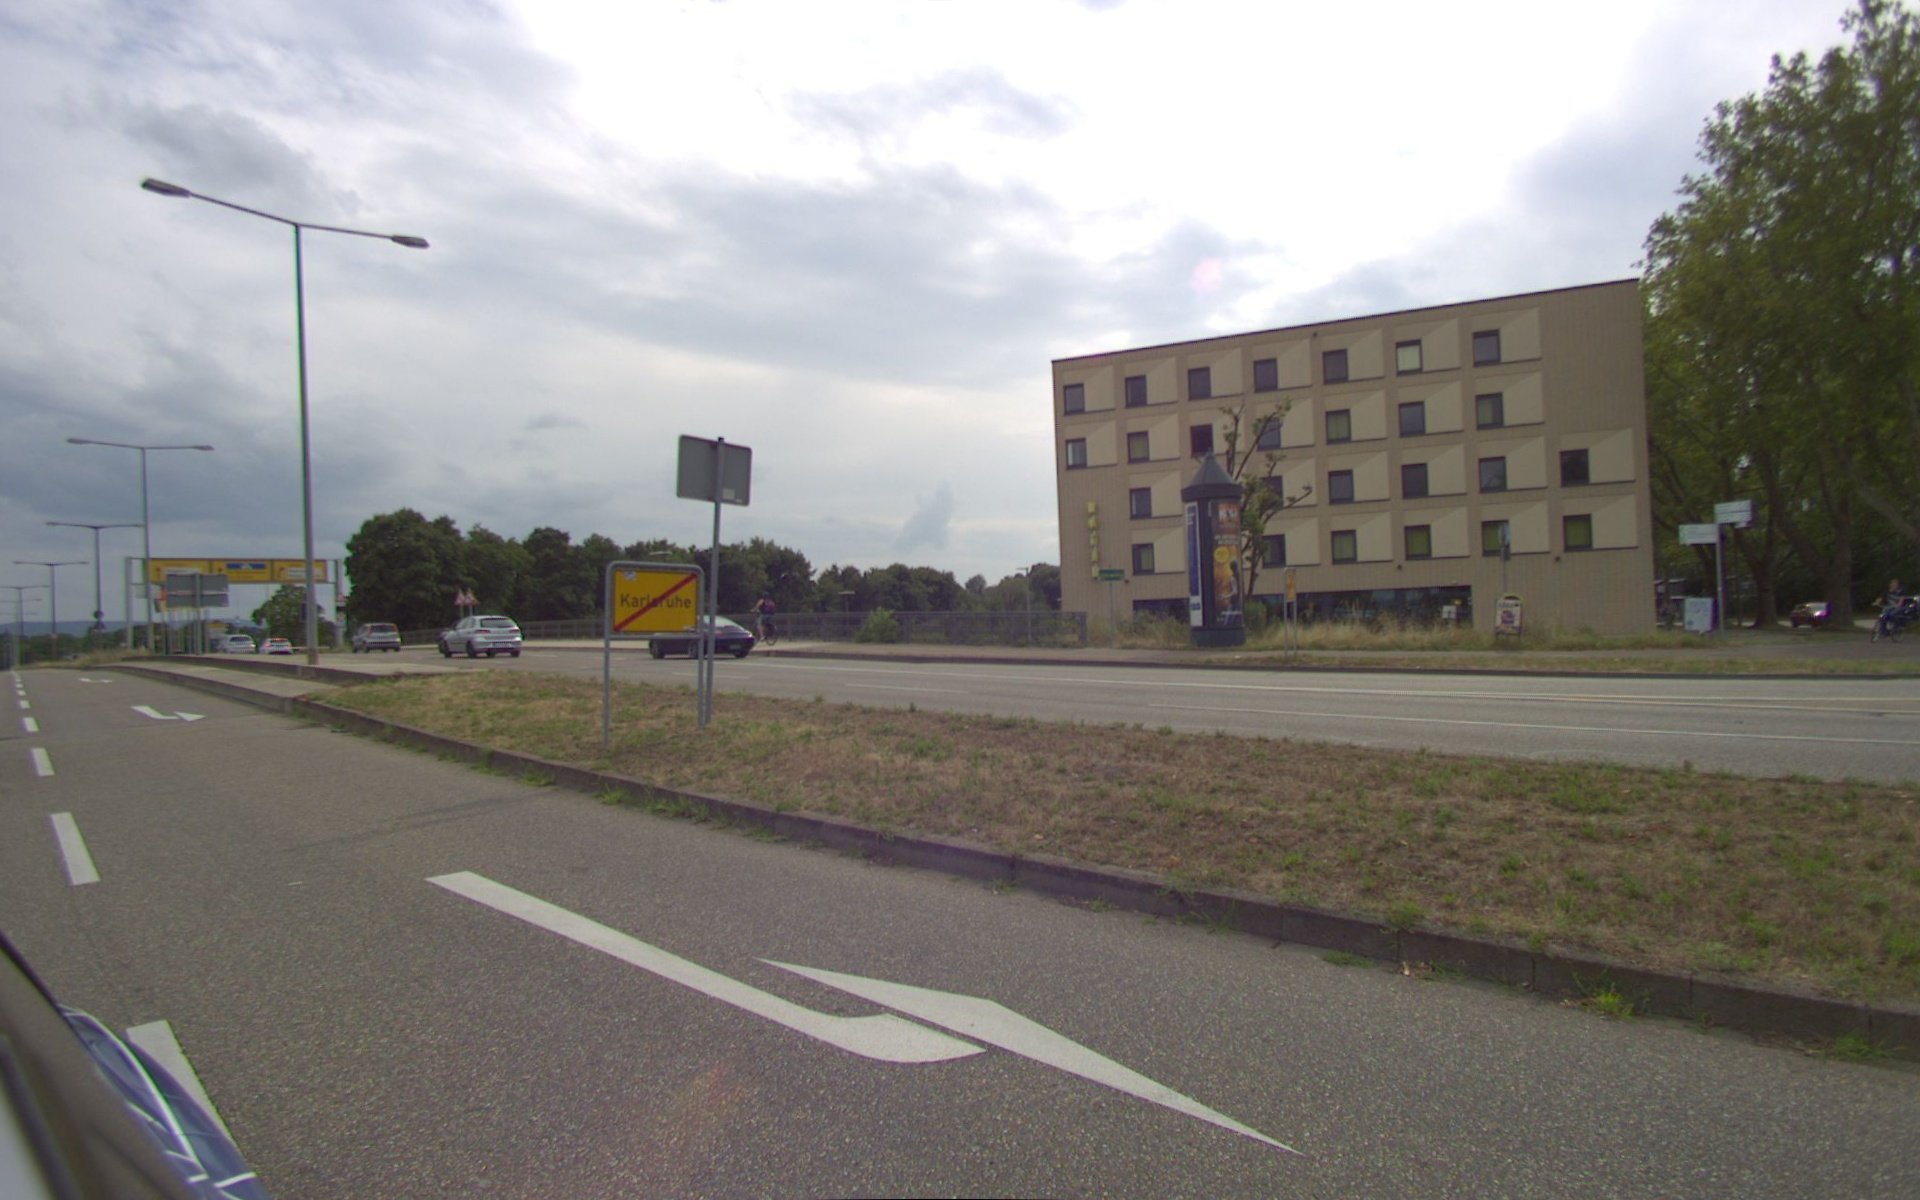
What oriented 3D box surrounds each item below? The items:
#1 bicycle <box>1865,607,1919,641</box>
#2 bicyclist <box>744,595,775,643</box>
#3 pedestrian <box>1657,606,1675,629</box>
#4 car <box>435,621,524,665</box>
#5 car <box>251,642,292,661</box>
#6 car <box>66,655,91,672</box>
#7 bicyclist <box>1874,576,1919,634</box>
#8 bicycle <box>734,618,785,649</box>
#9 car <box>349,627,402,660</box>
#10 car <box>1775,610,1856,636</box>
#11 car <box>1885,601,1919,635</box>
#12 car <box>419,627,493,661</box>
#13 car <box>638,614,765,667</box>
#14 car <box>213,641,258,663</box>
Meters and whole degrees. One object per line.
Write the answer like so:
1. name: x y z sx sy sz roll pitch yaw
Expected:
1. bicycle: 27.064 0.687 29.193 2.083 0.916 0.744 -1 -1 -28
2. bicyclist: -7.097 0.667 35.840 0.847 1.684 0.677 -3 -1 42
3. pedestrian: 35.469 0.885 50.838 0.494 1.133 0.464 -1 -1 -10
4. car: -16.628 1.464 34.974 1.597 1.421 3.862 1 -2 -45
5. car: -53.348 4.001 78.369 1.896 1.426 4.885 1 -3 -44
6. car: -94.326 6.755 108.267 1.865 1.652 4.589 -1 -2 -43
7. bicyclist: 27.091 0.142 29.221 0.905 1.627 0.744 -1 -1 -28
8. bicycle: -7.122 1.188 35.859 1.994 1.061 0.677 -2 -1 42
9. car: -31.118 2.263 53.846 1.720 1.671 4.085 1 -2 -40
10. car: 48.251 1.286 57.187 1.933 1.391 4.192 -1 -1 17
11. car: 45.330 0.810 46.832 1.933 1.572 4.438 -1 -1 17
12. car: -22.091 1.886 44.328 3.878 1.421 1.722 -2 -2 44
13. car: -7.950 1.211 30.922 1.800 1.457 4.355 -1 -1 -45
14. car: -49.462 3.529 69.078 4.030 1.426 1.788 -2 -1 44
